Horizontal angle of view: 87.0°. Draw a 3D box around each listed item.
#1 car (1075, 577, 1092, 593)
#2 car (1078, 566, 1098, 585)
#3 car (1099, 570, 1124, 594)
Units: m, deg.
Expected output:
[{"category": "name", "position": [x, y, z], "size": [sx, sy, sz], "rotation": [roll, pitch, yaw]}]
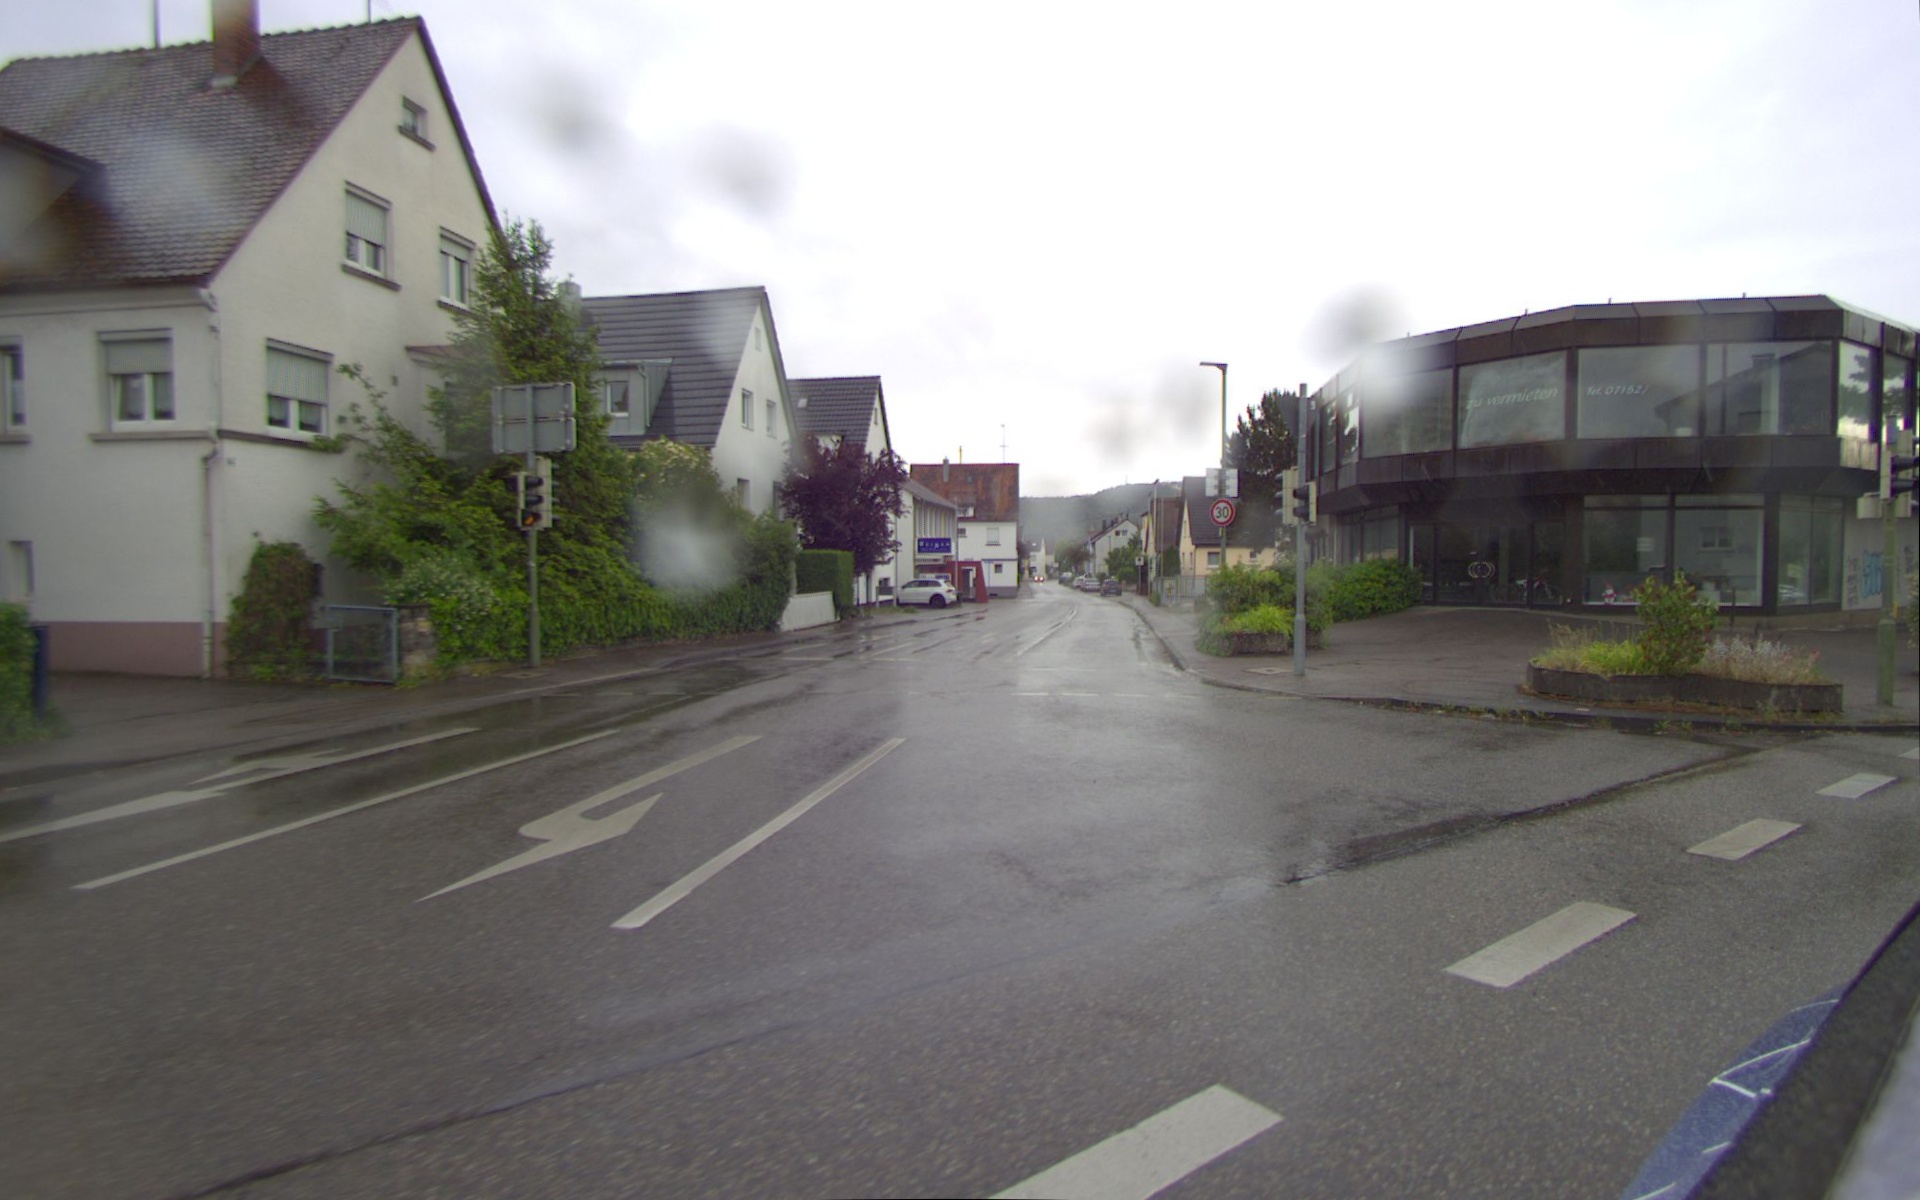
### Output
[{"category": "car", "position": [16.278, -2.019, 133.503], "size": [1.965, 2.038, 3.996], "rotation": [1, 1, 5]}, {"category": "car", "position": [14.100, -2.735, 111.427], "size": [1.965, 2.038, 3.995], "rotation": [1, 1, 5]}, {"category": "car", "position": [13.505, -1.629, 90.355], "size": [1.966, 2.038, 3.994], "rotation": [1, 1, 6]}]
